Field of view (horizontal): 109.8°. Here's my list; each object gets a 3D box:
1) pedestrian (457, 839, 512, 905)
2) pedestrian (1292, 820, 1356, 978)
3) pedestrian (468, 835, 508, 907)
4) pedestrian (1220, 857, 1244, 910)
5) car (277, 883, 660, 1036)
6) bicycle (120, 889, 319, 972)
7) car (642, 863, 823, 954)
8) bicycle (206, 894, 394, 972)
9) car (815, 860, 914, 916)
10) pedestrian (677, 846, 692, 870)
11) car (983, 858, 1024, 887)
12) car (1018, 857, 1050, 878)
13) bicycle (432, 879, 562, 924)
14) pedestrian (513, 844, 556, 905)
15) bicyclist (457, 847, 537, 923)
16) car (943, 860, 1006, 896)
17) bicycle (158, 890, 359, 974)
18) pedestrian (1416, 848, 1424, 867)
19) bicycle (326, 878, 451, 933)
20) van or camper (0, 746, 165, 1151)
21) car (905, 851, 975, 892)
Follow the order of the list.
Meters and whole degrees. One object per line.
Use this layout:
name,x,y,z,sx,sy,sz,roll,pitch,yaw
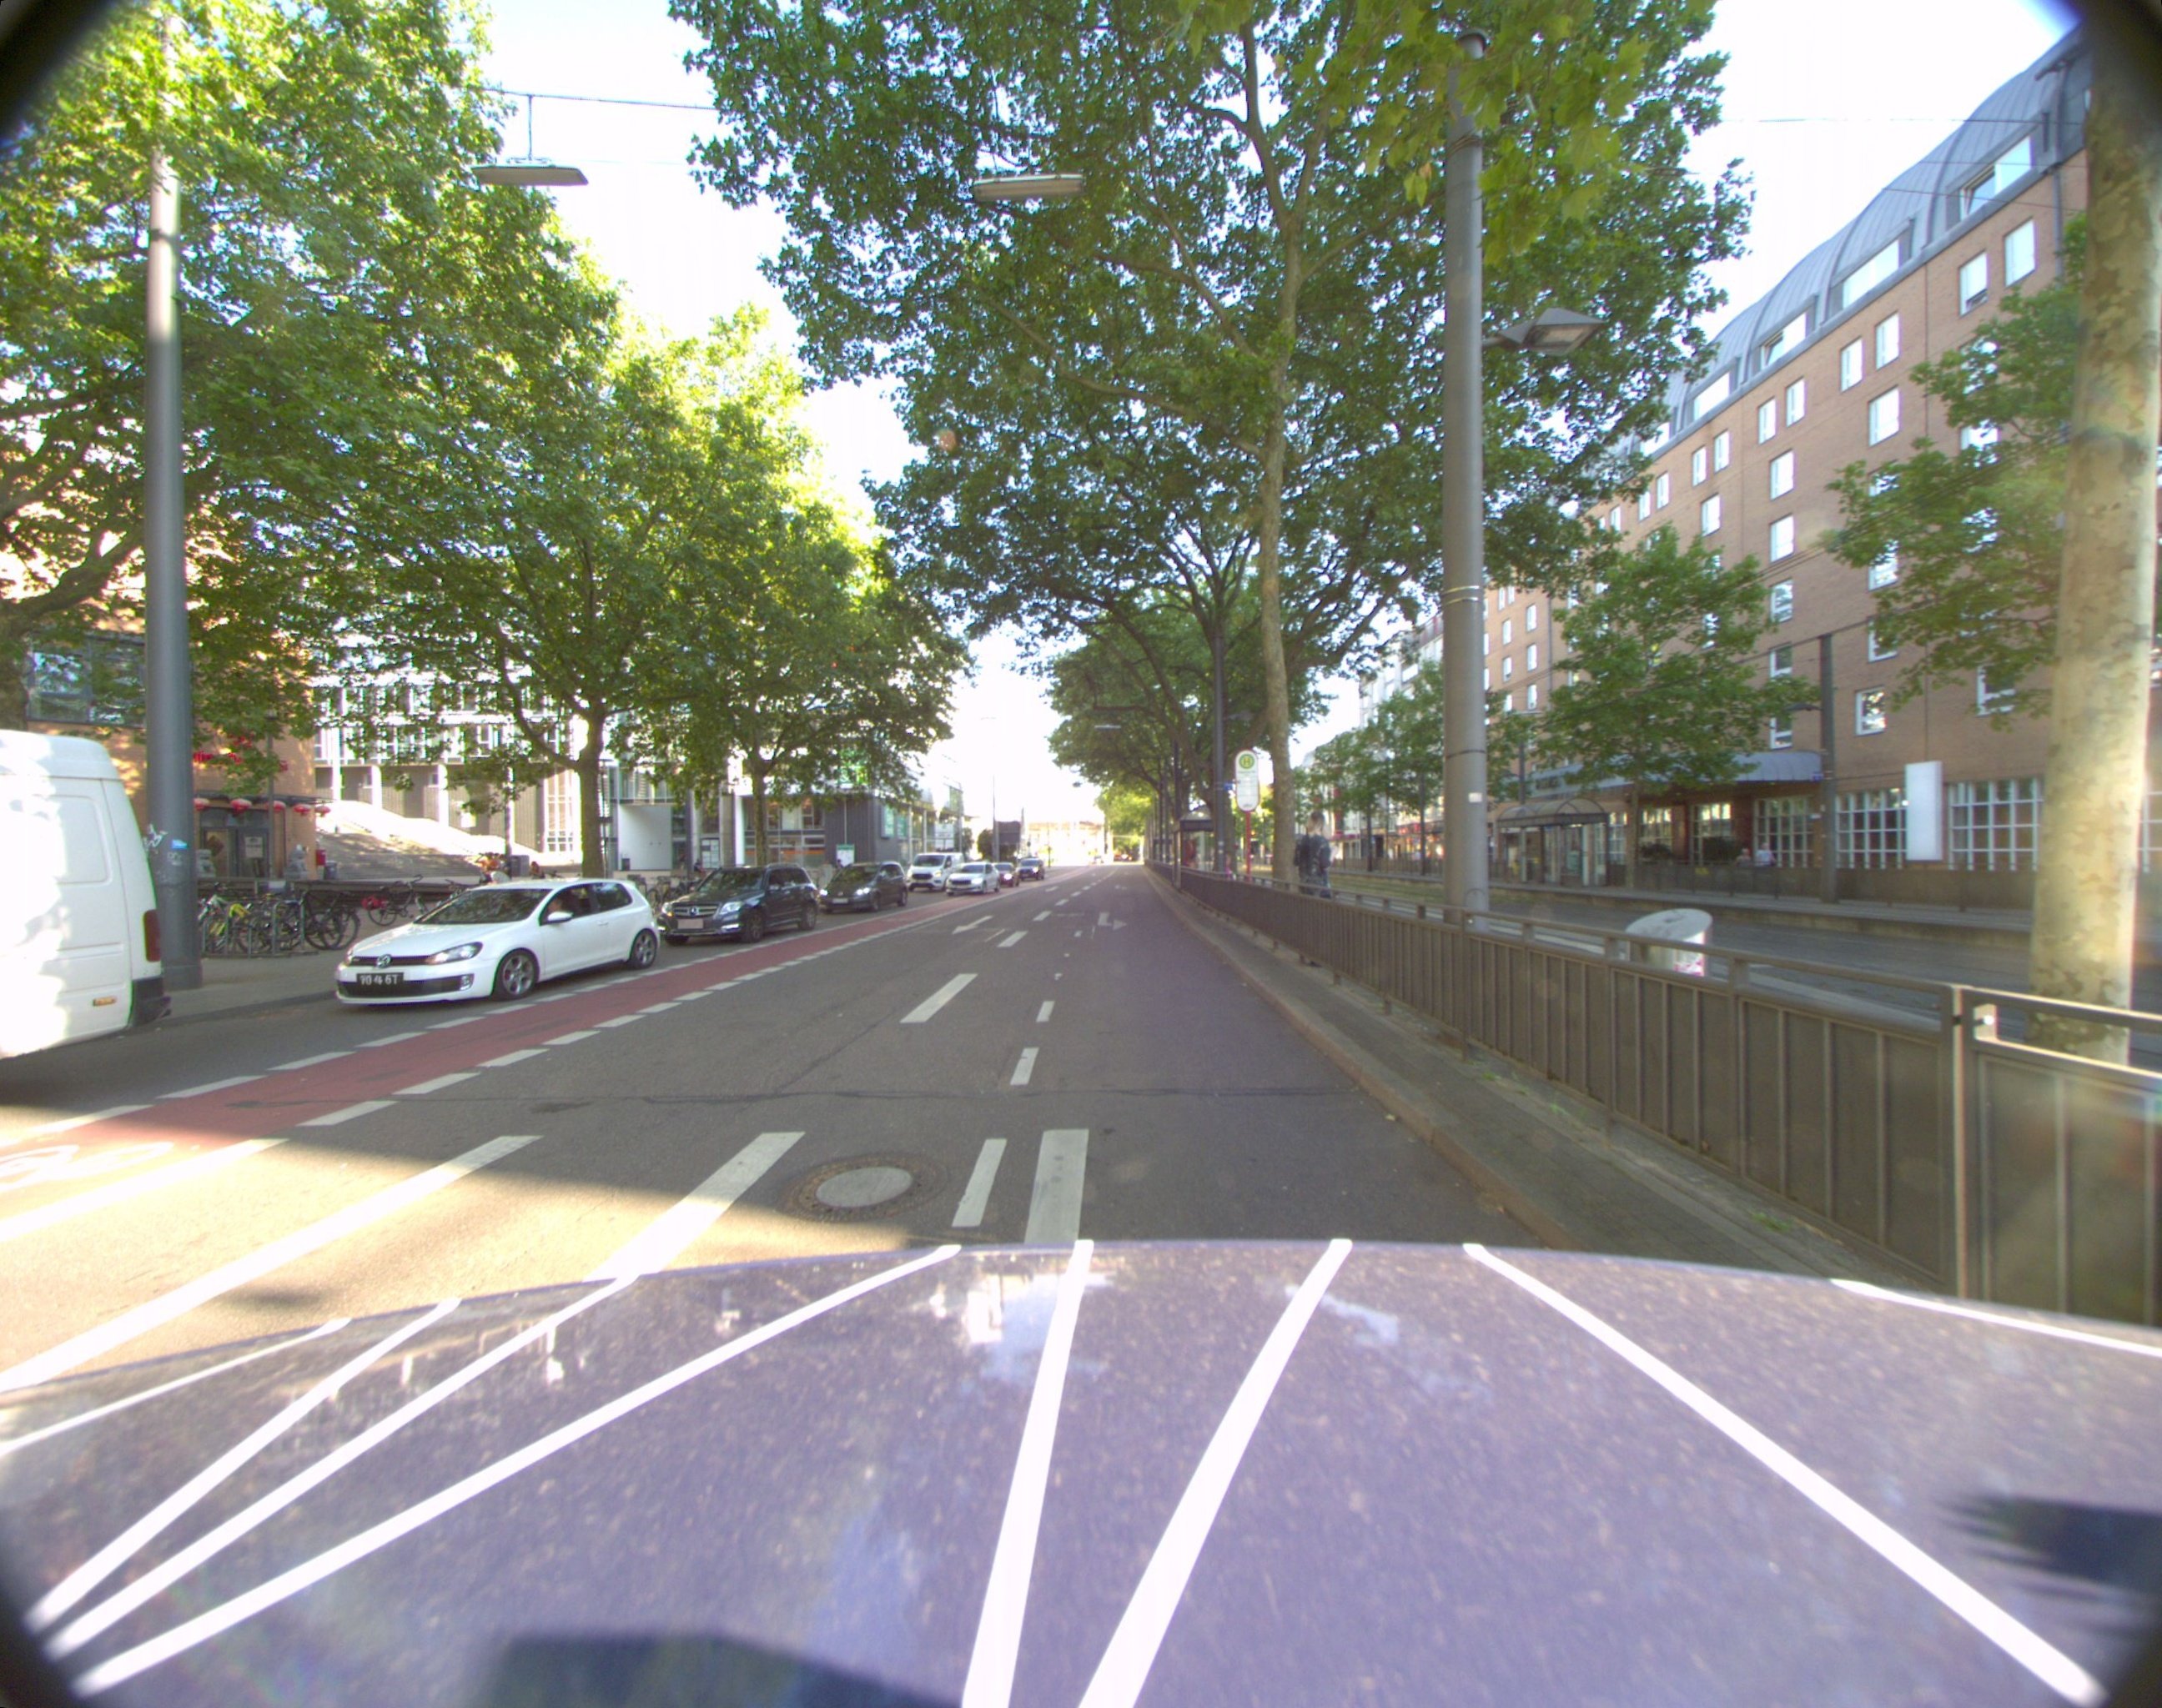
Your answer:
pedestrian,-21.226,0.629,27.040,1.048,2.235,1.221,-1,1,38
pedestrian,2.889,0.523,9.077,0.543,1.823,0.524,-2,1,2
pedestrian,-22.426,0.628,28.773,0.981,2.633,0.900,-3,1,-31
pedestrian,3.886,0.756,19.559,0.542,1.310,0.524,-2,1,12
car,-7.583,1.197,10.025,1.639,1.420,3.987,-2,0,3
bicycle,-14.773,1.264,13.160,0.671,1.155,2.305,-2,1,3
car,-7.360,1.061,16.587,1.768,1.626,4.251,-2,0,3
bicycle,-13.113,1.278,12.893,0.682,1.054,2.337,-1,1,2
car,-7.199,1.078,25.723,1.709,1.626,4.392,-2,0,5
pedestrian,-34.458,0.324,66.014,0.797,2.002,0.875,-2,1,1
car,-4.505,1.051,44.691,1.835,1.481,4.195,-3,0,1
car,-3.546,1.005,58.324,1.784,1.481,4.196,-3,0,5
bicycle,-16.215,1.284,21.087,3.328,1.077,1.150,0,1,18
pedestrian,-20.372,0.748,28.345,0.842,2.220,0.905,-2,1,22
bicyclist,-16.179,0.836,21.064,1.296,2.002,1.158,-1,1,17
car,-4.966,1.094,35.937,1.834,1.481,4.197,-2,0,8
bicycle,-14.043,1.276,13.117,0.751,1.155,2.398,-2,1,2
pedestrian,30.740,0.321,68.833,0.504,1.725,0.574,-1,1,3
bicycle,-17.845,1.291,19.707,0.699,1.193,2.700,-2,1,1
van or camper,-7.959,0.620,2.479,2.005,2.599,6.497,-1,0,0
car,-7.377,0.867,40.478,1.932,1.953,5.921,-2,0,6
